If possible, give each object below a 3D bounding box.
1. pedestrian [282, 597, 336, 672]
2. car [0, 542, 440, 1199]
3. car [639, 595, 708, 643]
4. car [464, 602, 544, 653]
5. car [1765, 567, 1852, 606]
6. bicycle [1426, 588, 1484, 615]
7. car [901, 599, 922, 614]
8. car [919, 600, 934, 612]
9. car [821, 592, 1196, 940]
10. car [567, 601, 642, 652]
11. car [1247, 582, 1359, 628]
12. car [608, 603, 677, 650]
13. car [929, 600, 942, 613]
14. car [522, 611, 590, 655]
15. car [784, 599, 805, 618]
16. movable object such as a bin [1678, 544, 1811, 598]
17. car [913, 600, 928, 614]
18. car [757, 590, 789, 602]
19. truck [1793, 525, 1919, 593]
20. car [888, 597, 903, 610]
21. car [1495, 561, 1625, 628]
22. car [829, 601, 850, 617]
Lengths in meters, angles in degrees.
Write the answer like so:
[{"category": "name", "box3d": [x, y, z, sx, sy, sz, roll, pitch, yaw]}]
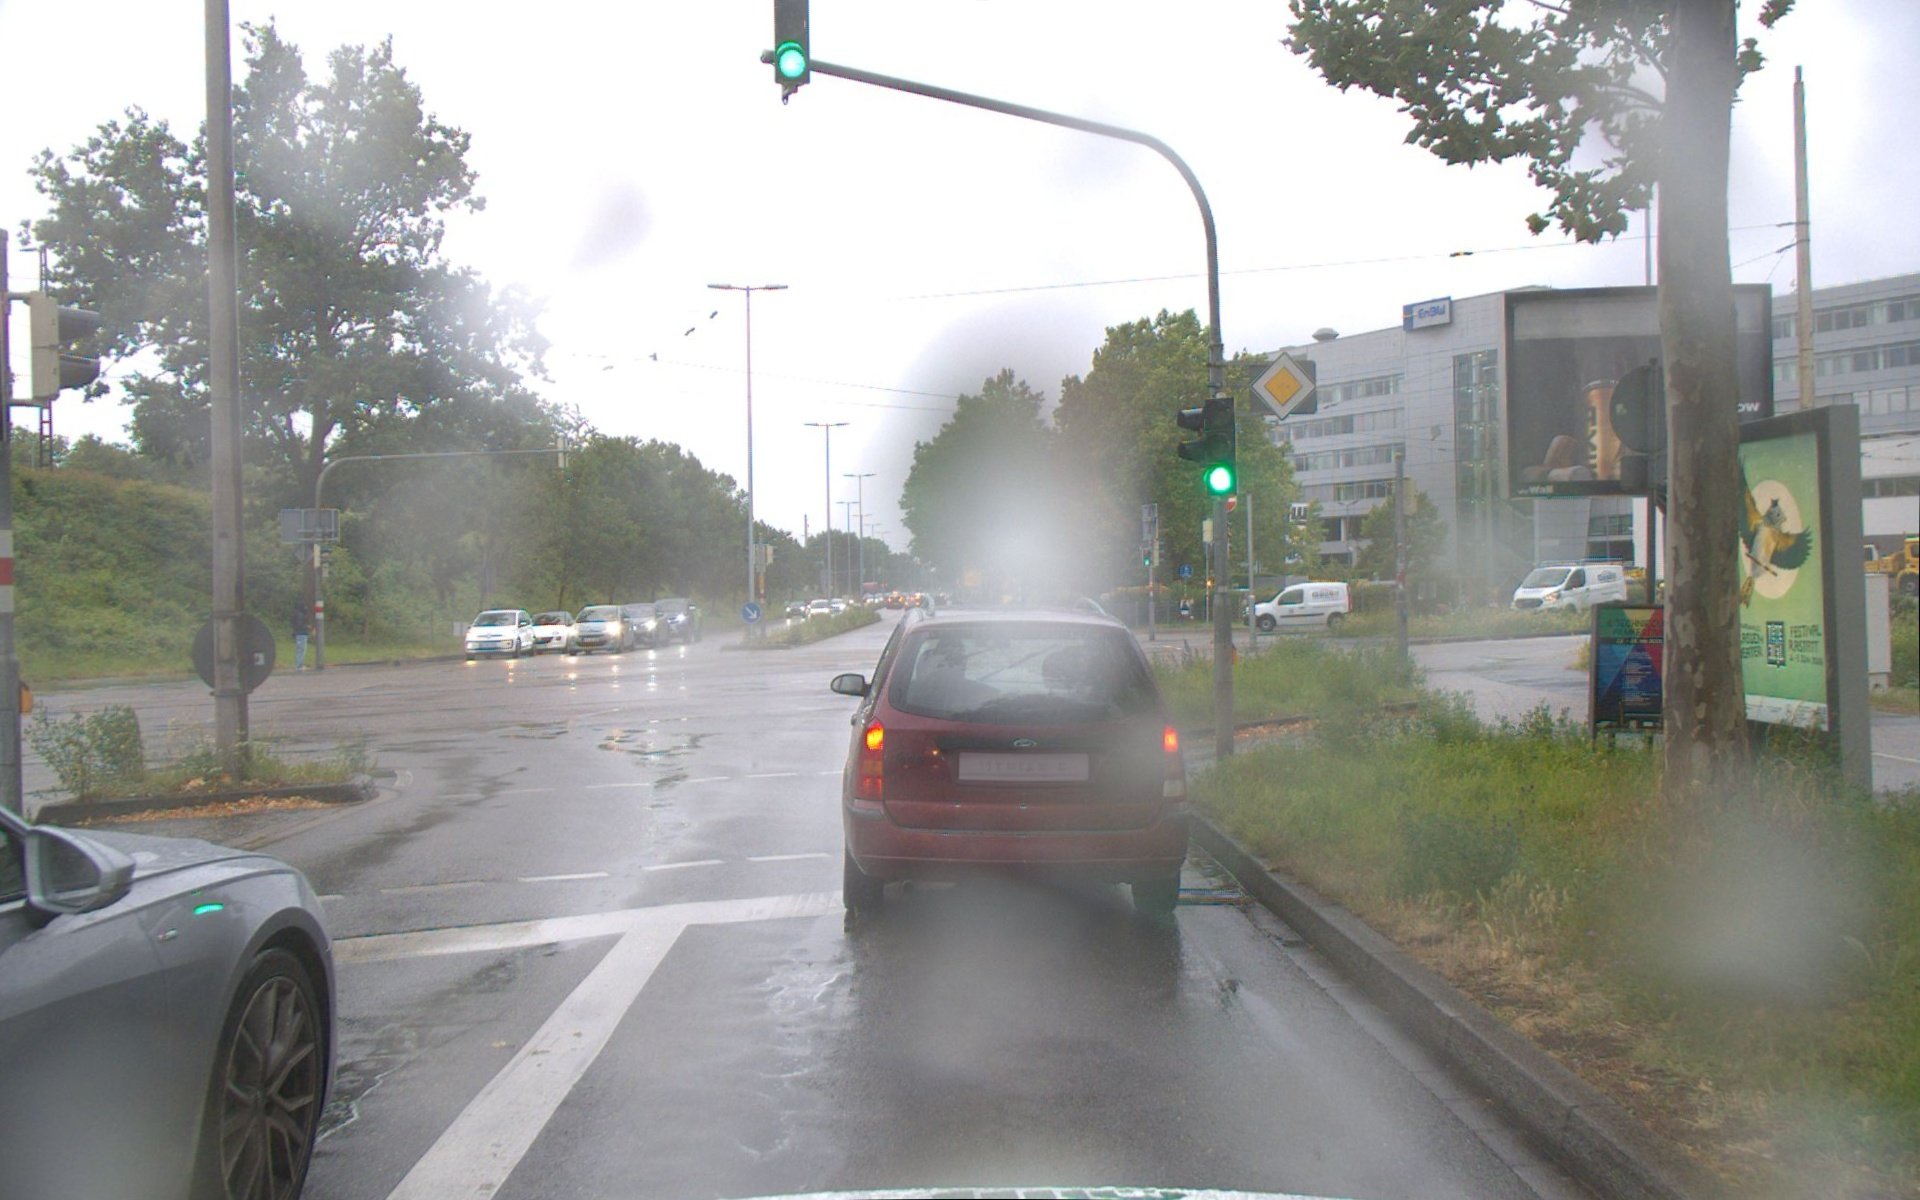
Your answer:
[{"category": "pedestrian", "box3d": [-16.758, 0.884, 42.613, 1.083, 1.879, 1.127, -1, 0, -13]}, {"category": "car", "box3d": [-2.263, 0.703, 2.211, 1.734, 1.601, 4.819, 1, 0, -2]}, {"category": "car", "box3d": [-11.765, 0.751, 68.374, 2.024, 1.851, 5.539, -2, 0, -2]}, {"category": "car", "box3d": [-14.304, 0.842, 52.011, 1.605, 1.478, 3.785, -2, 0, -3]}, {"category": "car", "box3d": [37.942, -0.624, 73.931, 4.335, 1.649, 1.753, -1, 0, -37]}, {"category": "bicycle", "box3d": [20.639, 0.062, 69.000, 2.258, 1.064, 0.849, -2, -1, 19]}, {"category": "car", "box3d": [-5.333, 0.737, 183.649, 2.103, 1.554, 4.193, -1, 0, 1]}, {"category": "car", "box3d": [-4.585, 0.815, 227.577, 1.636, 1.554, 3.847, -1, 0, 3]}, {"category": "car", "box3d": [0.152, 0.718, 9.030, 1.609, 1.490, 3.731, 1, 0, -2]}, {"category": "car", "box3d": [-11.372, 0.814, 53.140, 1.605, 1.499, 3.963, -2, 0, -2]}, {"category": "car", "box3d": [13.262, 0.175, 64.194, 4.140, 1.756, 1.743, 0, 0, 7]}, {"category": "car", "box3d": [-11.534, 0.952, 60.357, 1.727, 1.614, 4.810, -2, -1, -3]}, {"category": "car", "box3d": [-3.136, 0.803, 211.501, 1.637, 1.554, 3.846, -1, 0, 0]}, {"category": "car", "box3d": [-14.227, 1.126, 58.397, 1.558, 1.428, 3.821, -2, 0, -2]}, {"category": "car", "box3d": [-16.062, 0.794, 160.287, 1.708, 1.732, 4.282, 1, 0, -2]}, {"category": "movable object such as a bin", "box3d": [48.029, -1.737, 101.411, 3.293, 3.048, 6.633, -2, 0, -37]}, {"category": "car", "box3d": [-4.541, 0.750, 191.246, 1.663, 1.554, 3.845, -1, 0, 0]}, {"category": "car", "box3d": [-27.119, -0.538, 240.199, 4.238, 1.625, 1.944, -2, 0, -37]}, {"category": "truck", "box3d": [52.505, -2.324, 94.821, 3.292, 3.568, 7.788, -2, 0, -36]}, {"category": "car", "box3d": [-7.784, 0.412, 199.807, 1.663, 1.554, 3.846, -1, 0, 1]}, {"category": "car", "box3d": [20.373, -0.195, 56.100, 4.641, 2.162, 1.972, -1, -1, -39]}, {"category": "car", "box3d": [-13.074, 0.967, 179.808, 1.923, 1.732, 4.283, -2, 0, -1]}]
